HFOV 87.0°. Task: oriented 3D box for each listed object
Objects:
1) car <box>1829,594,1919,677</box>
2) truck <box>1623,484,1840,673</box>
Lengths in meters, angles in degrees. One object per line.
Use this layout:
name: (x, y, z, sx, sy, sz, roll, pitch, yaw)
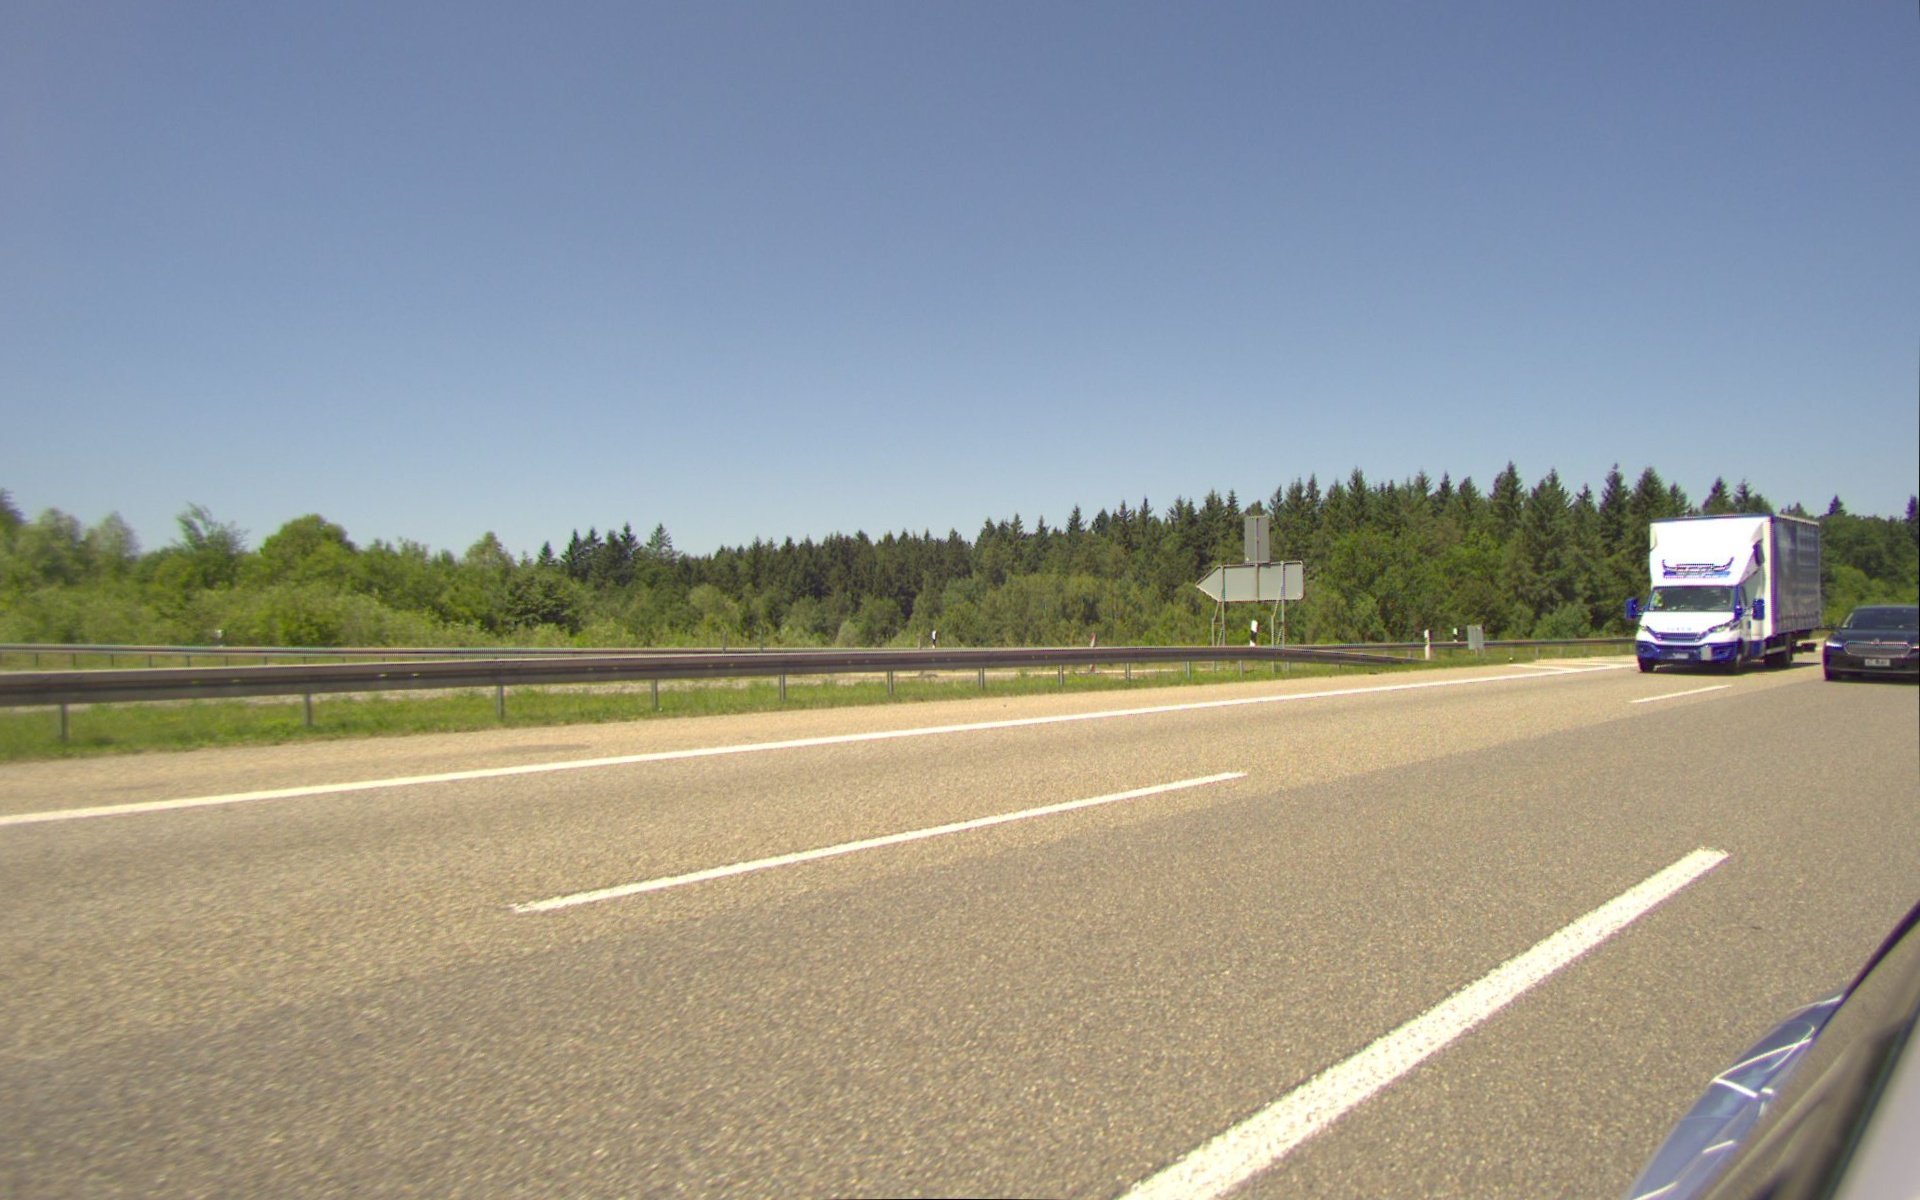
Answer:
car: (20.473, 0.765, 21.803, 4.378, 1.640, 1.988, 2, -2, -40)
truck: (20.533, -0.476, 26.638, 9.573, 4.181, 2.786, 0, -1, -42)
